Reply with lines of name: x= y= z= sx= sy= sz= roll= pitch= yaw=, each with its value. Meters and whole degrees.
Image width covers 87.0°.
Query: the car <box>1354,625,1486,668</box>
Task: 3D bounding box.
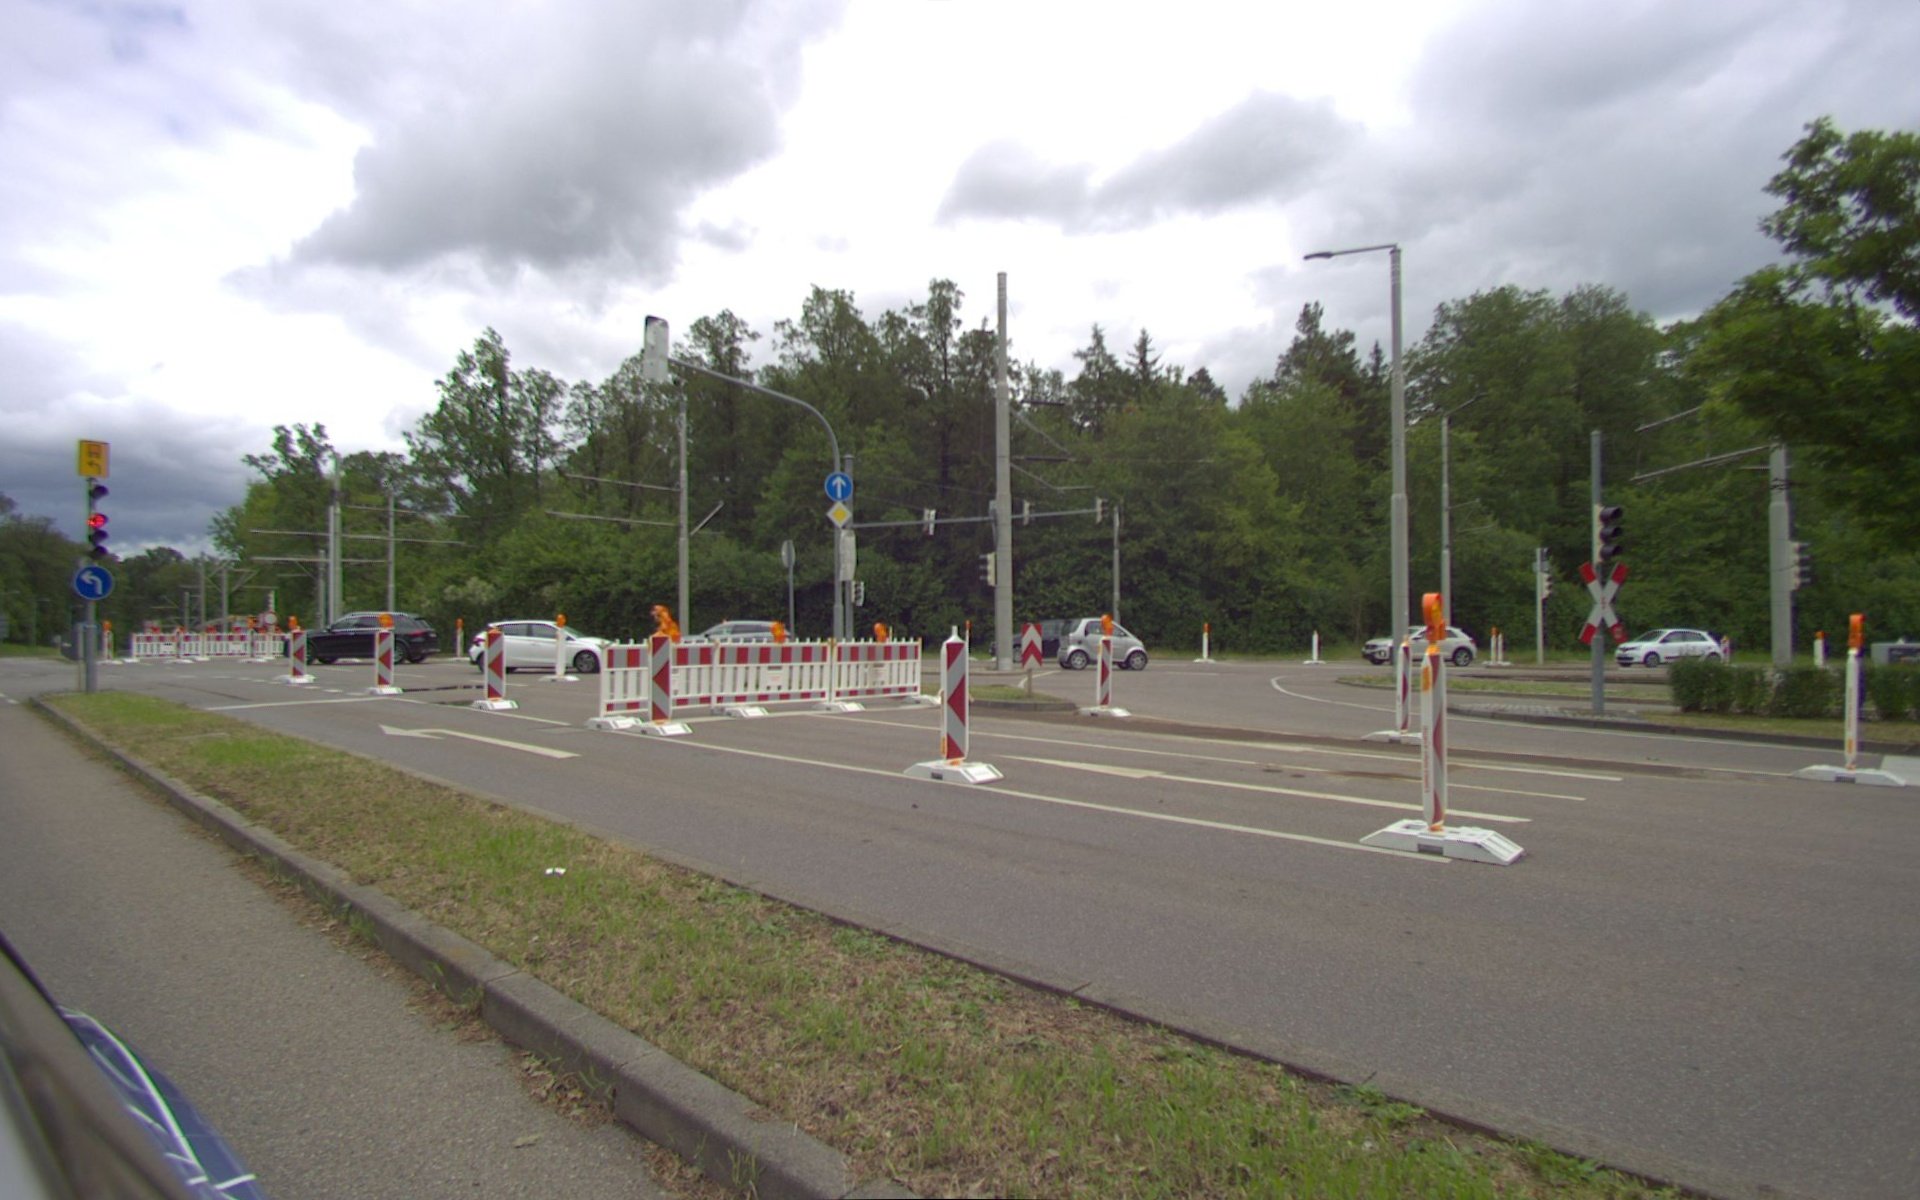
car: x=17.908 y=1.795 z=39.506 sx=4.245 sy=1.619 sz=1.970 roll=0 pitch=-2 yaw=-5

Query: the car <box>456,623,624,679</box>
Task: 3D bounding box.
car: x=-11.590 y=1.403 z=28.125 sx=4.010 sy=1.490 sz=1.657 roll=0 pitch=-2 yaw=-6

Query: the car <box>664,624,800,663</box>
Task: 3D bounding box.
car: x=-8.206 y=1.561 z=36.749 sx=4.618 sy=1.372 sz=1.970 roll=0 pitch=-2 yaw=-5

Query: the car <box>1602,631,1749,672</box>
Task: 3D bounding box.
car: x=28.483 y=2.036 z=40.394 sx=4.340 sy=1.553 sz=1.965 roll=0 pitch=-2 yaw=5

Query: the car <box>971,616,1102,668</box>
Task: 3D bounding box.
car: x=2.802 y=1.556 z=37.744 sx=4.618 sy=1.859 sz=1.970 roll=0 pitch=-2 yaw=-5

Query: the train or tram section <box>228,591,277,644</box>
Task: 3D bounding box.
train or tram section: x=-68.754 y=1.642 z=98.180 sx=2.908 sy=4.686 sz=18.585 roll=2 pitch=-2 yaw=-38

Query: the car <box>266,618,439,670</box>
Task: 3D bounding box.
car: x=-20.983 y=1.503 z=35.159 sx=4.769 sy=1.763 sz=1.972 roll=0 pitch=-2 yaw=-8

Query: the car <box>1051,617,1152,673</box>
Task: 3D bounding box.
car: x=4.192 y=1.344 z=30.167 sx=2.684 sy=1.598 sz=1.464 roll=0 pitch=-2 yaw=-8
